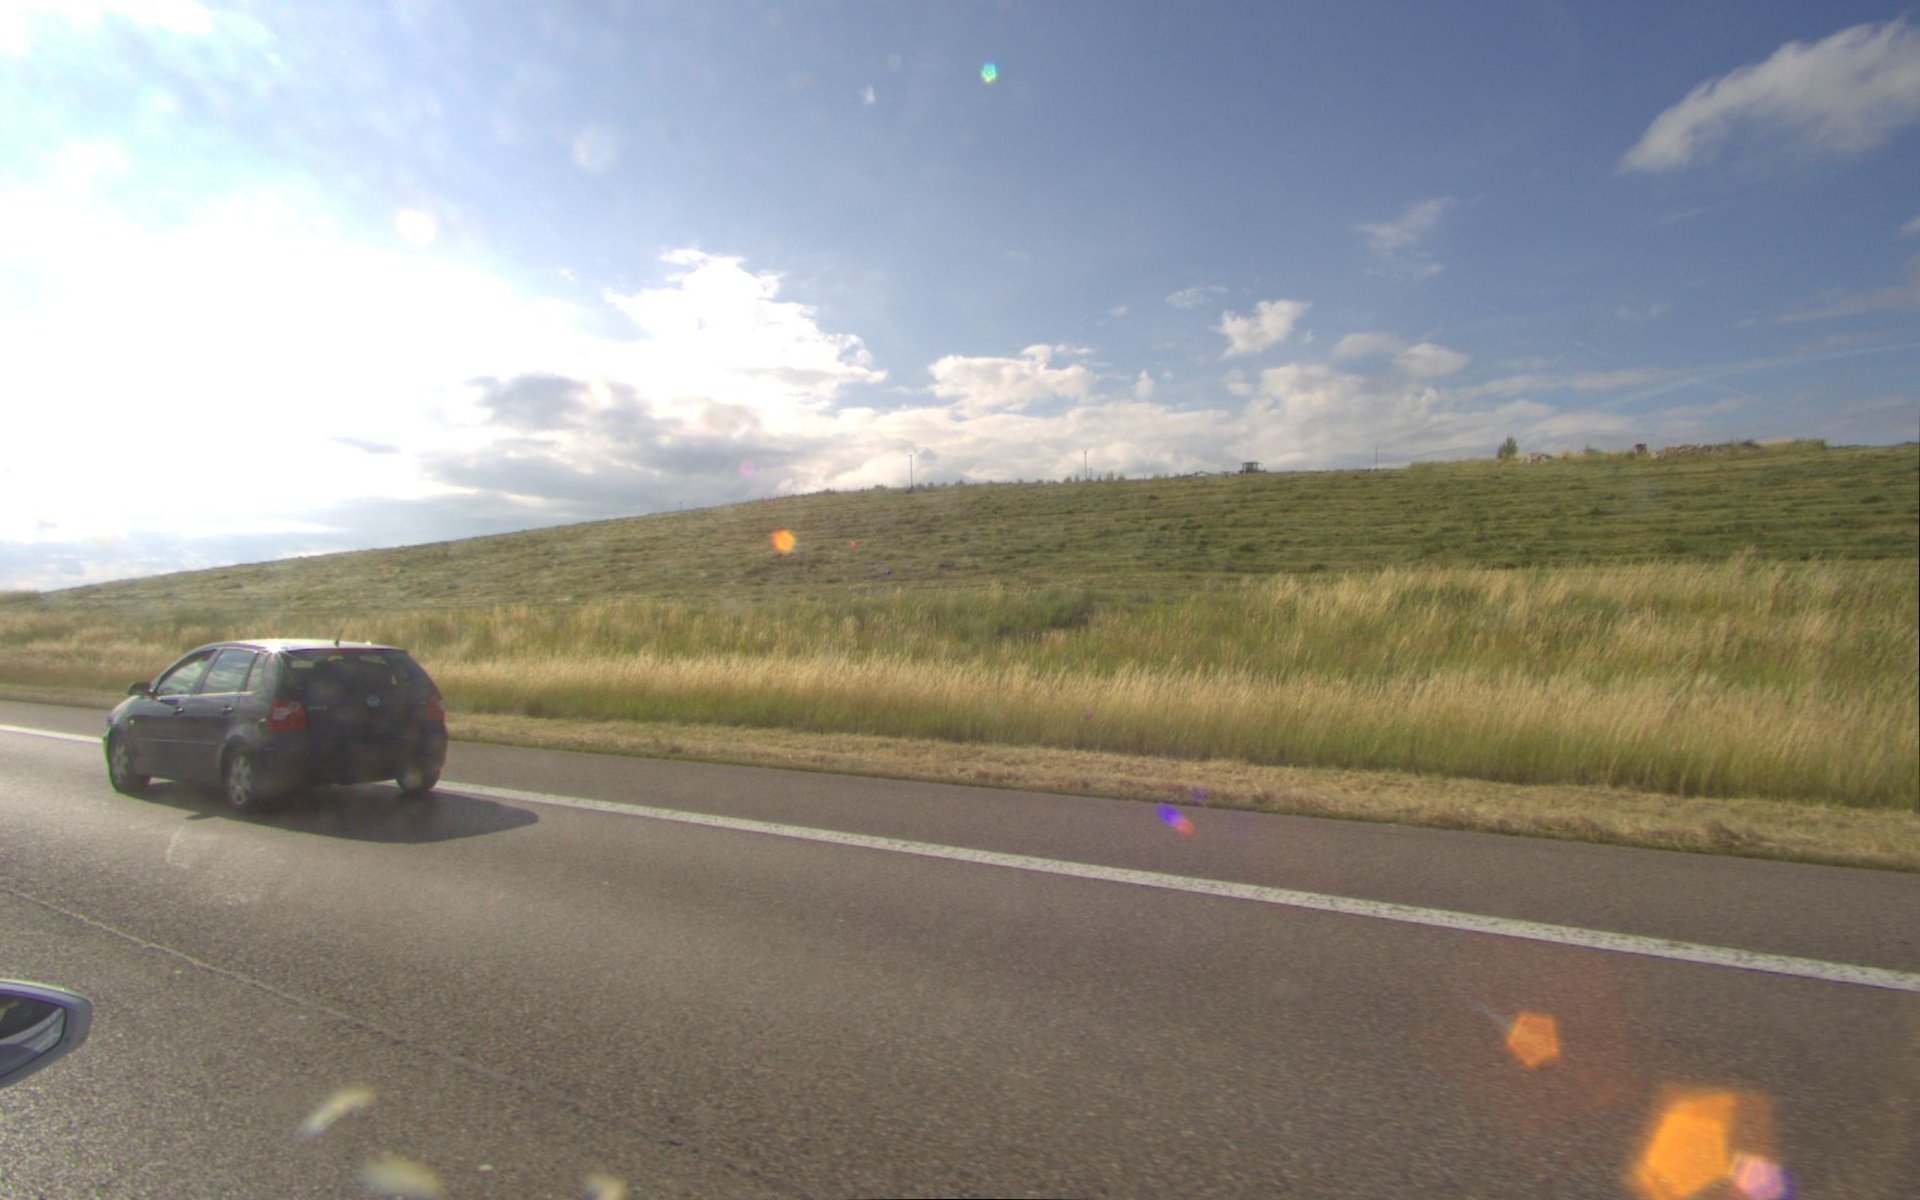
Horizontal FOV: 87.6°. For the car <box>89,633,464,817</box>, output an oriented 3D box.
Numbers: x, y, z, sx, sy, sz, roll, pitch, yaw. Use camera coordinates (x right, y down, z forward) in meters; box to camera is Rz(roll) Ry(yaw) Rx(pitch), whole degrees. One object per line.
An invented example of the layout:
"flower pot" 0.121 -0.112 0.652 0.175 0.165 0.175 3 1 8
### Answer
"car" -6.534 1.047 9.509 3.619 1.438 1.603 -1 -2 31
